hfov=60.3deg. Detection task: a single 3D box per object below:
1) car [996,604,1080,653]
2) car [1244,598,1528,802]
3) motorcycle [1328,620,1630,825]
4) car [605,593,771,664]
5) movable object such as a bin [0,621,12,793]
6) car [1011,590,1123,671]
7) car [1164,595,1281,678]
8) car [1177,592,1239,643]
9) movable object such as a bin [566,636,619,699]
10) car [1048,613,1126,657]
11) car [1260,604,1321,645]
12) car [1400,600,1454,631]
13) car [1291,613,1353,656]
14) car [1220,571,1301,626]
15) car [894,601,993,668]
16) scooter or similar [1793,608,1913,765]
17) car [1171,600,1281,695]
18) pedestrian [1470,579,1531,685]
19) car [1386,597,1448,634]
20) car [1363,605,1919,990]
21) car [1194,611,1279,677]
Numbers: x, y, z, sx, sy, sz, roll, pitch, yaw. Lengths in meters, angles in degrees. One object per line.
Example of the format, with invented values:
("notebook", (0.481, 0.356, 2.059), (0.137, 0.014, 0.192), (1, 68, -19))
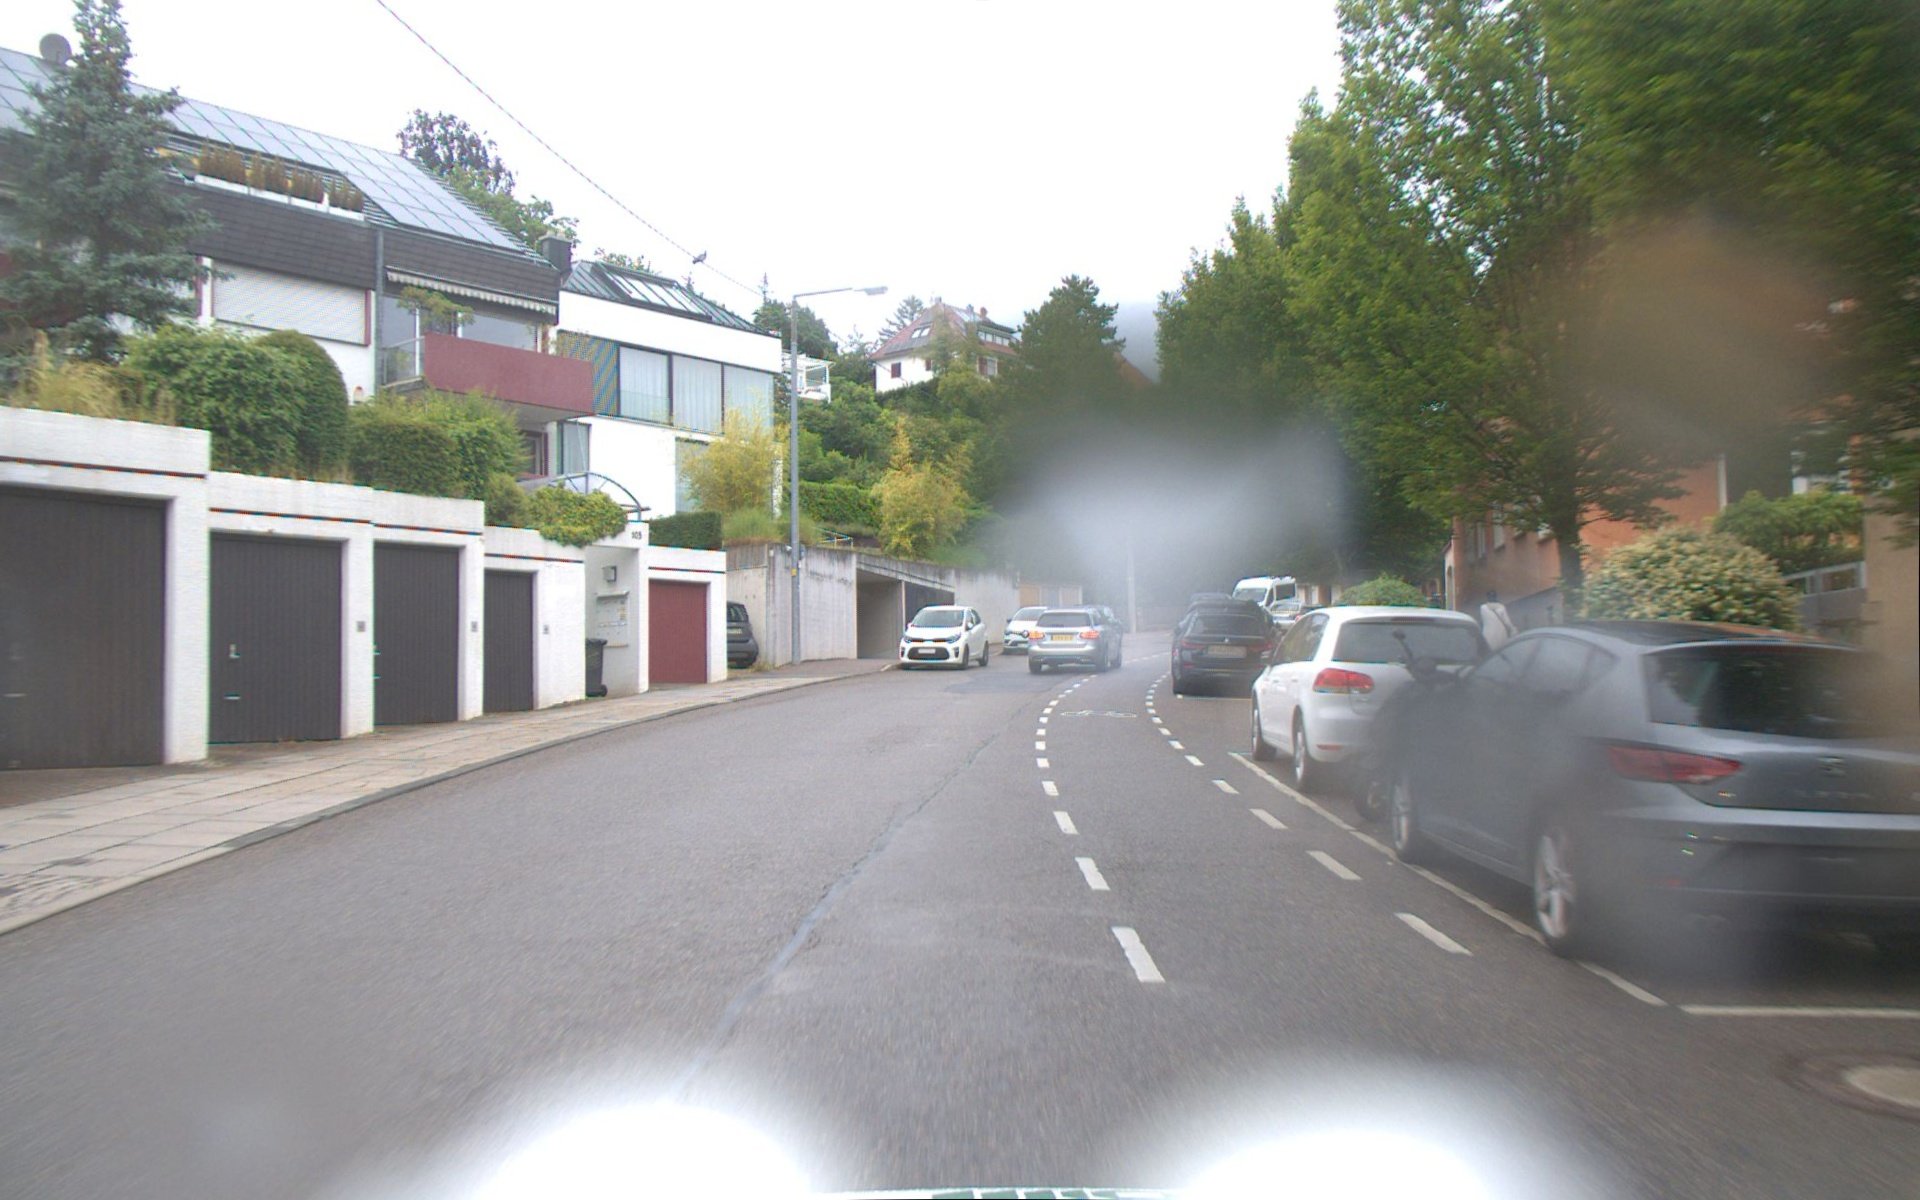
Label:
("car", (2.498, 0.887, 52.098), (1.793, 1.465, 4.042), (-1, -1, 16))
("car", (3.600, 0.767, 14.657), (1.622, 1.515, 4.001), (1, 0, 3))
("motorcycle", (3.665, 0.852, 11.784), (1.875, 1.353, 0.787), (2, 0, -3))
("car", (-6.373, 0.644, 38.619), (3.860, 1.504, 1.758), (2, 0, 41))
("movable object such as a bin", (-6.857, 0.715, 11.194), (0.519, 1.166, 0.597), (0, -2, 42))
("car", (2.540, 0.683, 38.147), (1.982, 1.738, 4.219), (0, -1, 12))
("car", (5.833, 0.764, 36.274), (2.010, 1.685, 5.239), (0, 0, 15))
("car", (8.928, 0.624, 59.239), (1.951, 1.738, 4.003), (0, -1, 12))
("movable object such as a bin", (-5.949, 1.081, 26.782), (0.534, 0.980, 0.643), (0, 0, 38))
("car", (4.524, 1.196, 58.380), (1.677, 1.485, 4.684), (-1, -1, 18))
("car", (14.635, 1.084, 73.076), (1.953, 1.738, 3.999), (0, -1, 22))
("car", (23.177, 0.755, 82.026), (1.612, 1.449, 4.280), (1, 1, 30))
("car", (13.677, 1.278, 62.342), (1.634, 1.496, 3.709), (1, 0, 22))
("car", (14.936, -0.106, 81.989), (2.055, 2.594, 6.086), (-1, 0, 29))
("car", (-0.353, 0.809, 40.367), (1.592, 1.542, 3.835), (-1, 0, 13))
("scooter or similar", (7.506, 0.704, 13.948), (0.404, 1.267, 1.175), (0, 0, 2))
("car", (4.802, 0.814, 30.366), (1.815, 1.609, 4.861), (0, 0, 7))
("pedestrian", (9.234, 0.537, 28.293), (0.744, 1.750, 0.903), (-3, -1, 7))
("car", (21.068, 0.688, 76.108), (1.742, 1.580, 4.721), (1, 1, 28))
("car", (3.499, 0.762, 8.525), (1.839, 1.441, 4.468), (1, 0, 1))
("car", (7.071, 1.067, 41.948), (1.822, 1.495, 5.060), (2, 0, 12))
